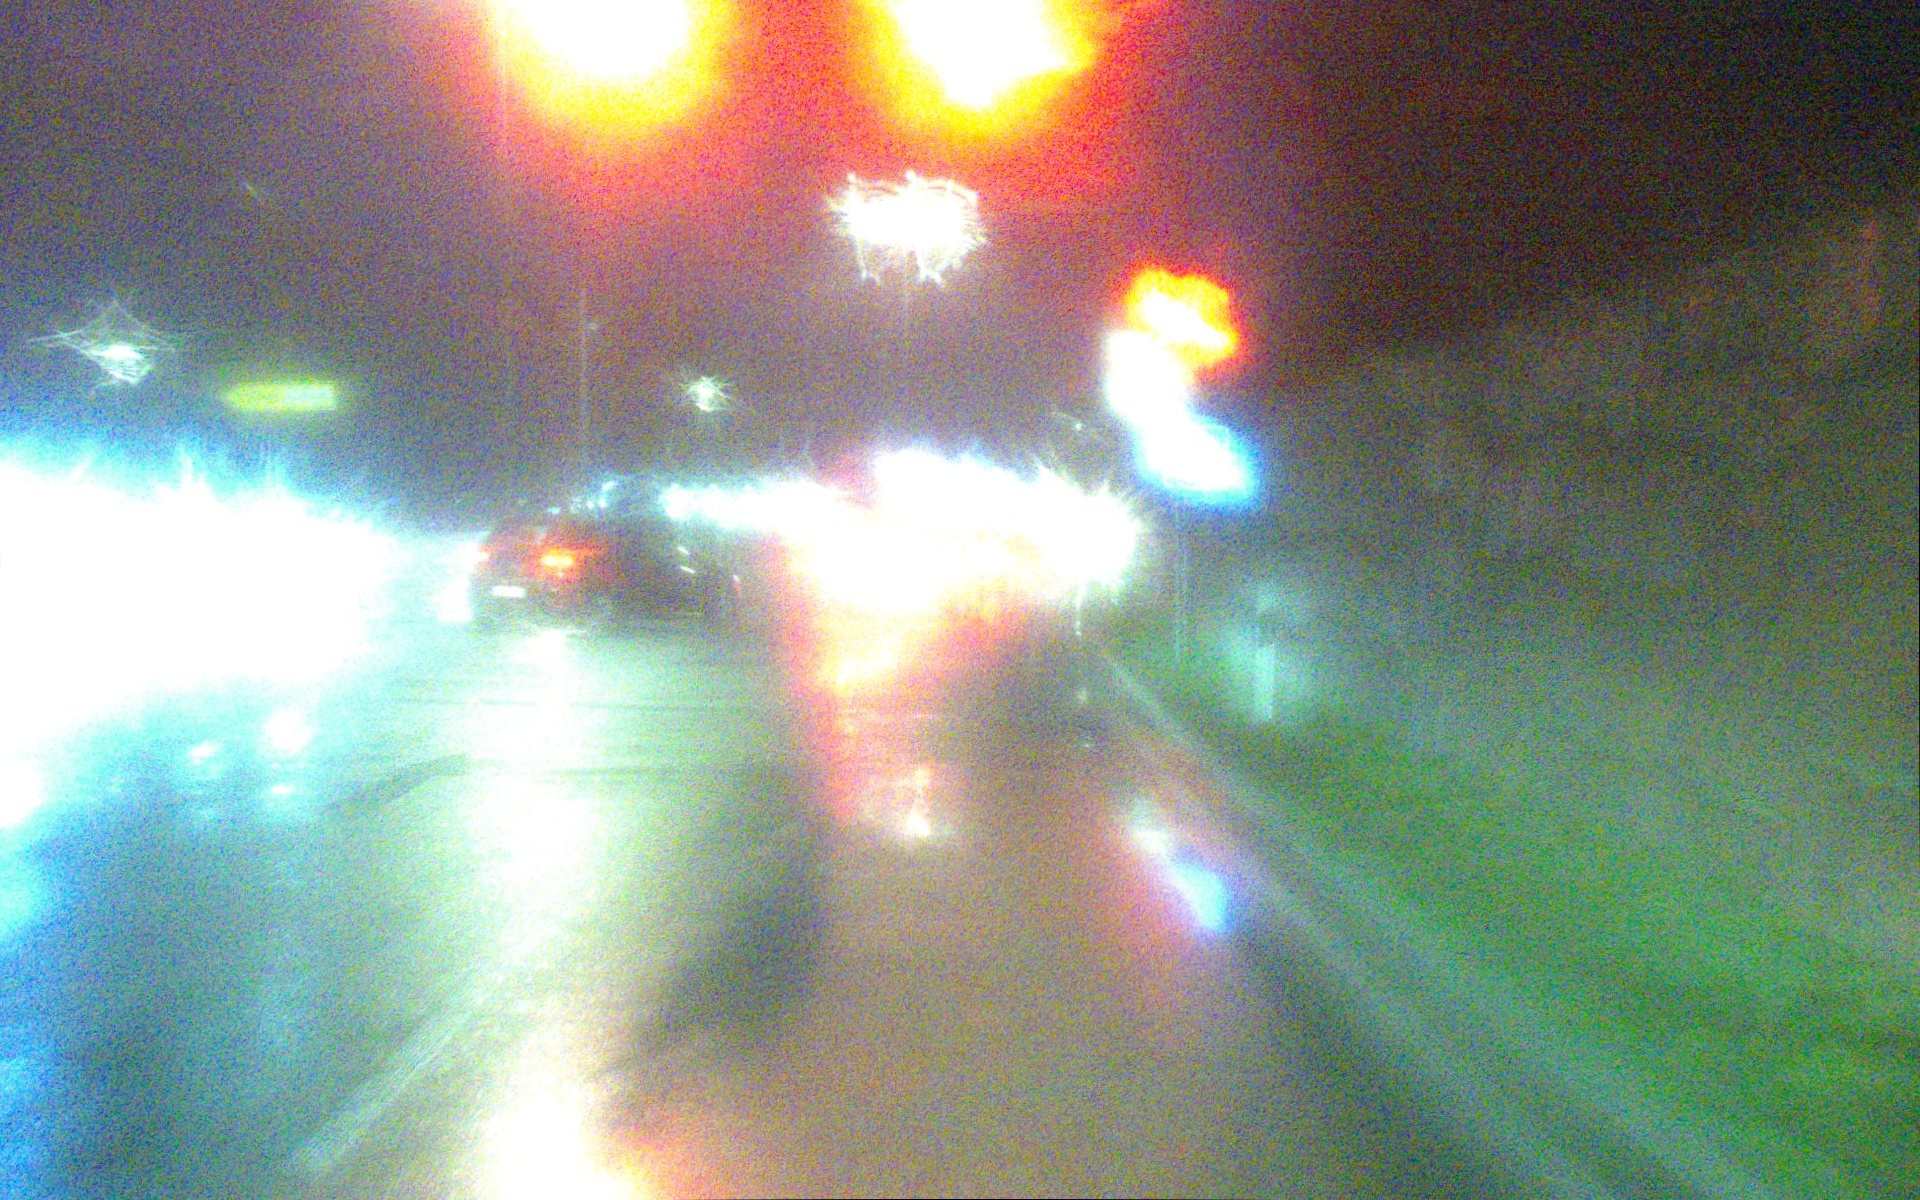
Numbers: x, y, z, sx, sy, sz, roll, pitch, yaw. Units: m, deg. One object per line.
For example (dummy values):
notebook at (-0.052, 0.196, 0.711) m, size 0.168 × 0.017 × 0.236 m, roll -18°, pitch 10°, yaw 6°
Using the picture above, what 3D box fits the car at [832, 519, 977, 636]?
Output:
car at (-0.788, -0.367, 51.251) m, size 1.993 × 1.656 × 4.000 m, roll -1°, pitch 1°, yaw 1°

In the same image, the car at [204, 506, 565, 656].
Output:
car at (-6.656, -0.235, 40.102) m, size 3.986 × 1.656 × 2.000 m, roll -1°, pitch 1°, yaw -5°

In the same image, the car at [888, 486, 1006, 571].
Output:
car at (-0.259, -1.252, 60.412) m, size 1.962 × 1.423 × 3.933 m, roll -1°, pitch 1°, yaw -2°
